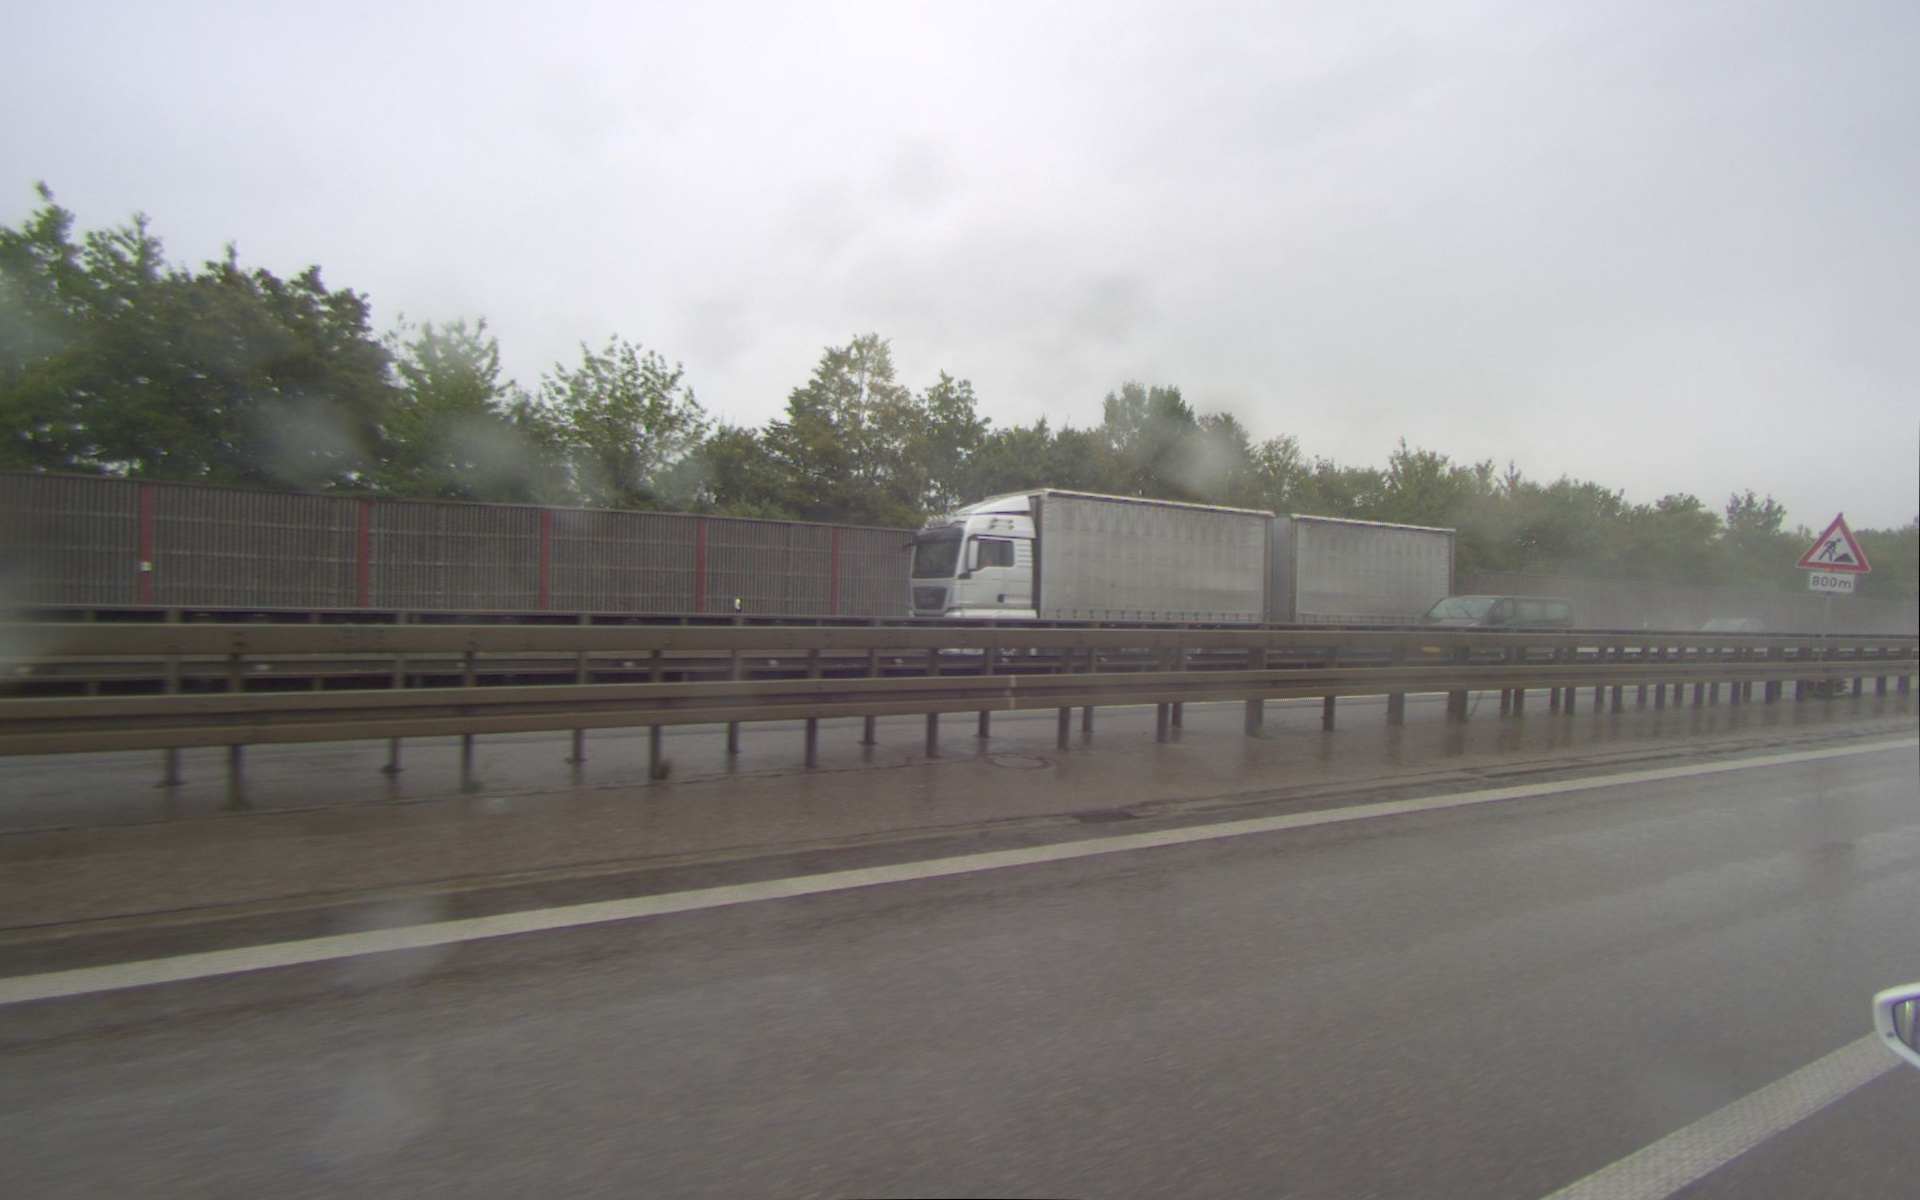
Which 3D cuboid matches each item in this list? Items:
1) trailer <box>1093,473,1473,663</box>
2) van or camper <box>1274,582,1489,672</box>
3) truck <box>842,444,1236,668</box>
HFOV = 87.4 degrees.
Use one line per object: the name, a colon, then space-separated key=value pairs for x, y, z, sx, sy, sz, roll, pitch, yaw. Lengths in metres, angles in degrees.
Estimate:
trailer: x=9.936 y=-0.697 z=30.011 sx=12.106 sy=4.758 sz=3.848 roll=1 pitch=0 yaw=-32
van or camper: x=10.567 y=0.673 z=25.031 sx=5.605 sy=2.040 sz=1.984 roll=2 pitch=0 yaw=-31
truck: x=2.146 y=-0.854 z=25.171 sx=9.386 sy=4.701 sz=3.815 roll=1 pitch=0 yaw=-32
